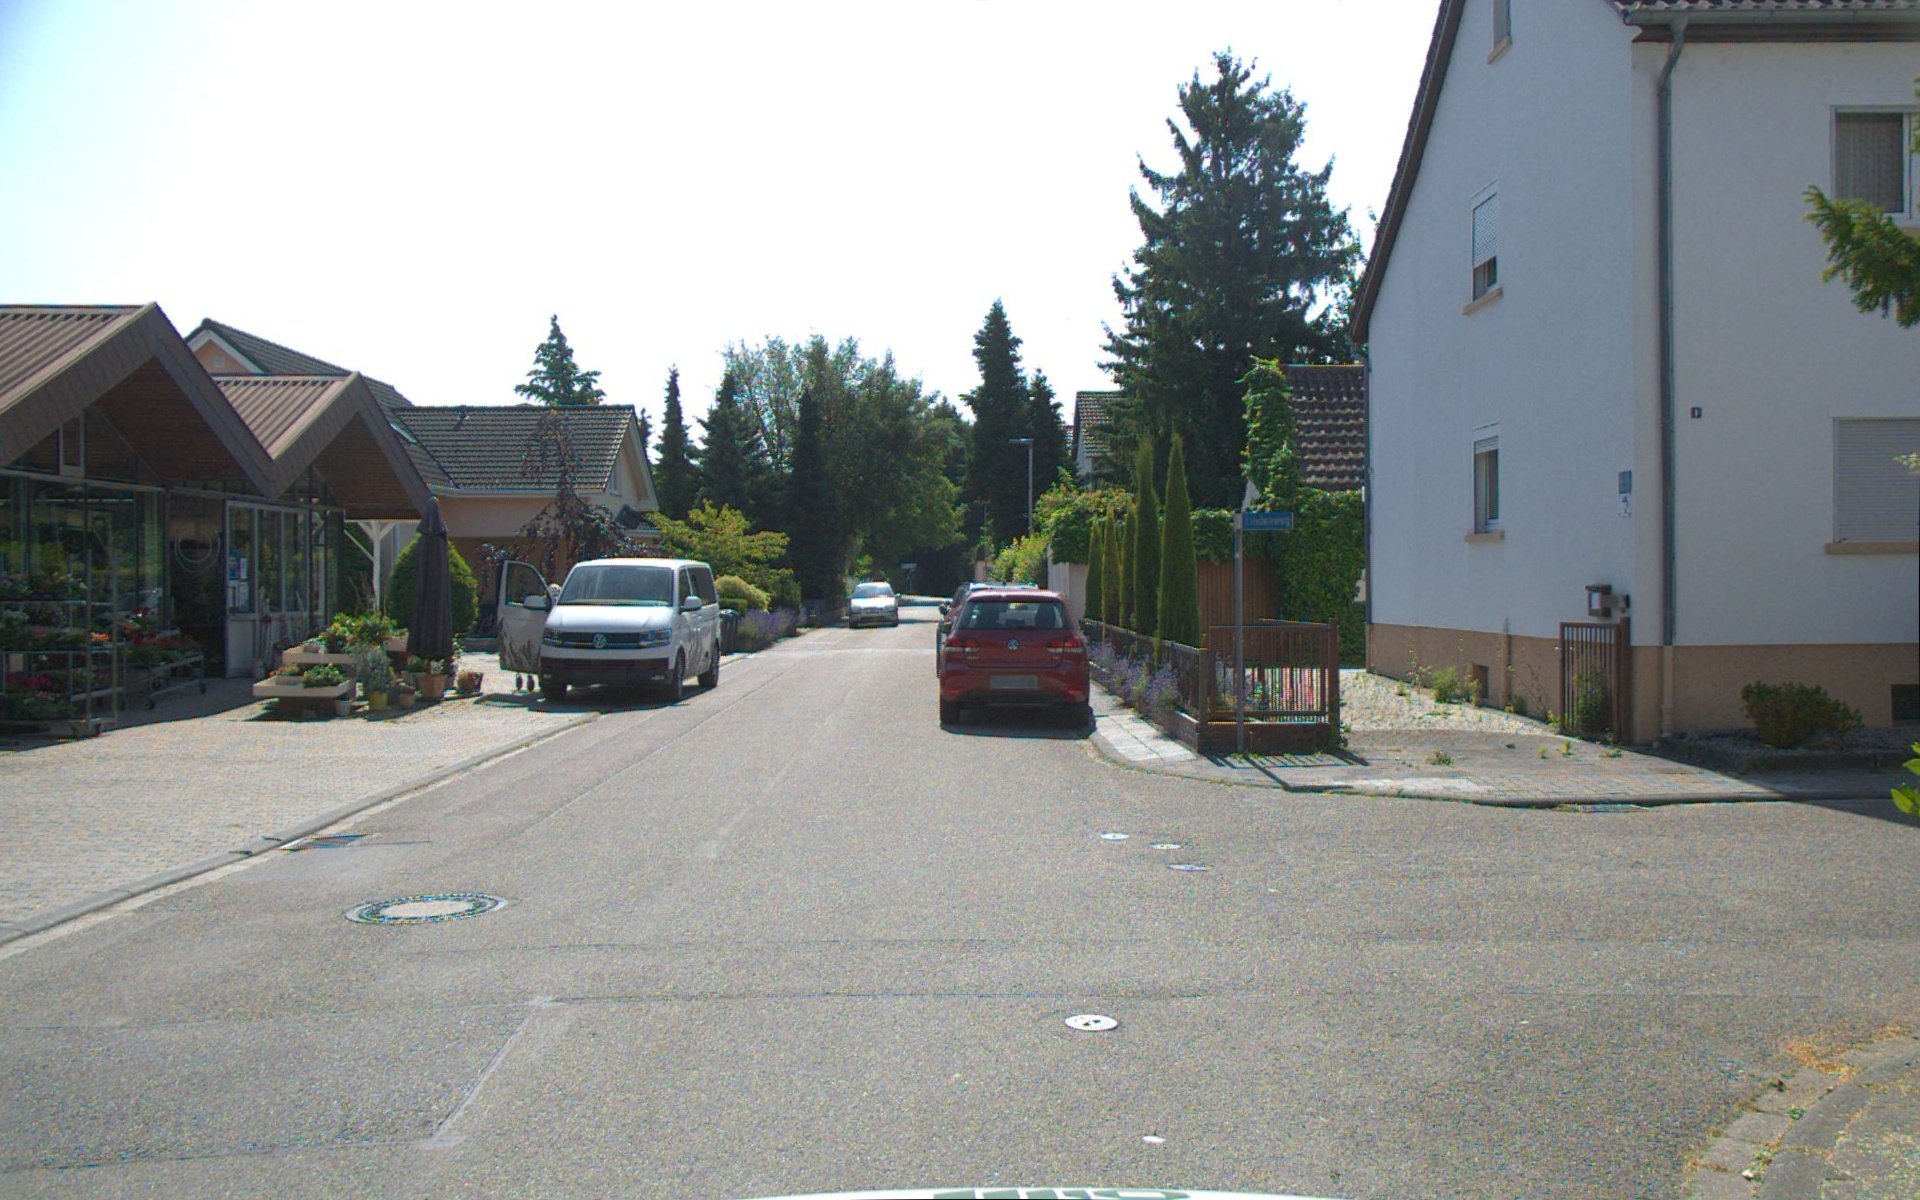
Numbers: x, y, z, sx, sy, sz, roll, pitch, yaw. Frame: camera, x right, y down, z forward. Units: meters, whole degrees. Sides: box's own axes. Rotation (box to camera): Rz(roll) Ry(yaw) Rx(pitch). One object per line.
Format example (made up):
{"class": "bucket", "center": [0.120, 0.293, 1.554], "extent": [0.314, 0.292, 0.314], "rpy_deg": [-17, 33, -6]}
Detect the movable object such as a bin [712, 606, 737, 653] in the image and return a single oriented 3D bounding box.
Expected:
{"class": "movable object such as a bin", "center": [-5.319, 0.662, 37.342], "extent": [0.484, 1.042, 0.447], "rpy_deg": [-1, 0, -1]}

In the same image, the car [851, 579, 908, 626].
{"class": "car", "center": [-2.756, 0.065, 57.302], "extent": [1.716, 1.513, 4.376], "rpy_deg": [-1, 0, 0]}

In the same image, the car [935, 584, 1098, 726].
{"class": "car", "center": [0.709, 0.585, 19.961], "extent": [1.738, 1.505, 4.002], "rpy_deg": [1, 0, 3]}

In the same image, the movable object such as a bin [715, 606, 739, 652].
{"class": "movable object such as a bin", "center": [-5.330, 0.662, 37.832], "extent": [0.484, 1.042, 0.447], "rpy_deg": [-1, 0, -1]}

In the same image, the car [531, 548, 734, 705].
{"class": "car", "center": [-4.650, 0.332, 24.232], "extent": [1.889, 2.049, 4.897], "rpy_deg": [0, 0, 1]}

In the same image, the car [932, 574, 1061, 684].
{"class": "car", "center": [0.512, 0.416, 26.772], "extent": [1.786, 1.643, 3.998], "rpy_deg": [0, 0, -3]}

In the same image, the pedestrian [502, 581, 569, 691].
{"class": "pedestrian", "center": [-6.178, 0.511, 24.055], "extent": [0.704, 1.565, 0.640], "rpy_deg": [0, 1, 33]}
